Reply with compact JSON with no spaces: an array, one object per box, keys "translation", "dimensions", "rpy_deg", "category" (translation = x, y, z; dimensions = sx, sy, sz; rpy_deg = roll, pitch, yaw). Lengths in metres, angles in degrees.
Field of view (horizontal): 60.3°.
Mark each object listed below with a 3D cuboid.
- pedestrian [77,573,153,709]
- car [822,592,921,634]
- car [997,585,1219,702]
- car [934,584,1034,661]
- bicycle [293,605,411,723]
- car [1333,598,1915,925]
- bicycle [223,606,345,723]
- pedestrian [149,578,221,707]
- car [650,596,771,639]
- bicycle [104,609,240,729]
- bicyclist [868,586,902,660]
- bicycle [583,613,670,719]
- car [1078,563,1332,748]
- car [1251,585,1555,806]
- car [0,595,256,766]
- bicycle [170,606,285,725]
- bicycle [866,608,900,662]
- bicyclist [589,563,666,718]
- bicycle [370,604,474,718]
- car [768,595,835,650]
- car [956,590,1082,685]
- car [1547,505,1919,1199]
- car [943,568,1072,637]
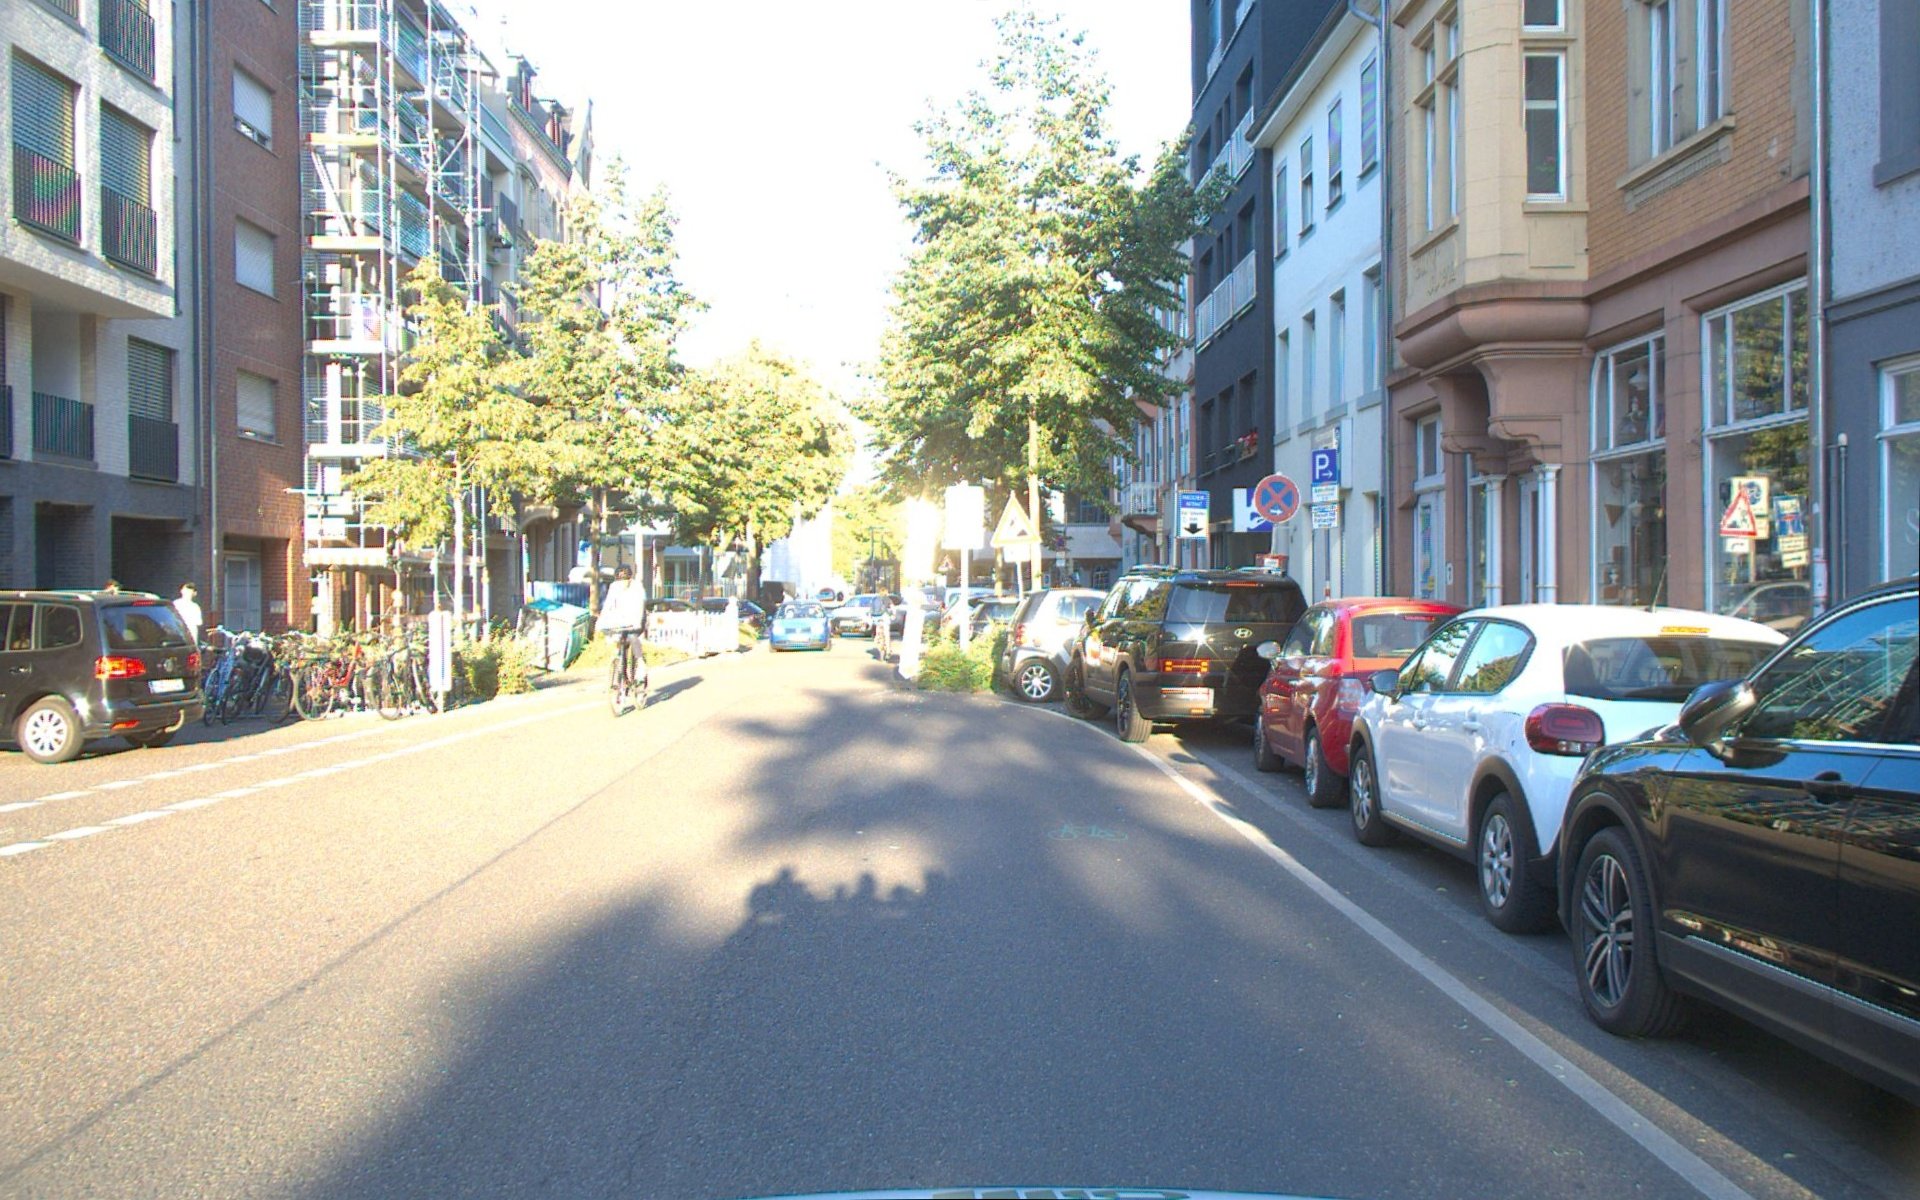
[{"translation":[-11.412,0.548,22.360],"dimensions":[0.703,1.798,0.693],"rpy_deg":[1,0,-9],"category":"pedestrian"},{"translation":[-3.281,0.492,62.404],"dimensions":[1.847,1.506,4.456],"rpy_deg":[1,0,25],"category":"car"},{"translation":[2.050,0.601,23.368],"dimensions":[2.911,1.563,1.432],"rpy_deg":[1,0,-5],"category":"car"},{"translation":[0.589,0.588,45.505],"dimensions":[2.221,1.796,4.505],"rpy_deg":[5,-1,-4],"category":"car"},{"translation":[-7.949,0.786,21.776],"dimensions":[0.876,1.420,3.159],"rpy_deg":[0,0,-9],"category":"bicycle"},{"translation":[3.314,0.707,9.076],"dimensions":[1.632,1.402,3.802],"rpy_deg":[1,0,-1],"category":"car"},{"translation":[-8.778,0.791,21.617],"dimensions":[0.766,1.397,3.135],"rpy_deg":[1,0,-9],"category":"bicycle"},{"translation":[-10.804,0.582,23.088],"dimensions":[0.703,1.771,0.737],"rpy_deg":[1,0,-9],"category":"pedestrian"},{"translation":[-8.891,0.618,59.197],"dimensions":[4.018,1.491,1.889],"rpy_deg":[1,0,0],"category":"car"},{"translation":[-10.108,0.831,21.357],"dimensions":[0.708,1.420,3.146],"rpy_deg":[1,0,-9],"category":"bicycle"},{"translation":[-1.804,0.543,39.471],"dimensions":[0.765,1.726,1.006],"rpy_deg":[-1,0,-4],"category":"bicyclist"},{"translation":[-4.127,0.788,20.589],"dimensions":[0.765,1.225,2.019],"rpy_deg":[-1,0,-3],"category":"bicycle"},{"translation":[2.476,0.530,17.794],"dimensions":[1.789,1.725,4.365],"rpy_deg":[1,0,-4],"category":"car"},{"translation":[3.359,0.666,13.103],"dimensions":[1.554,1.509,3.266],"rpy_deg":[1,0,1],"category":"car"},{"translation":[-9.972,0.766,17.260],"dimensions":[4.399,1.629,2.002],"rpy_deg":[1,0,8],"category":"car"},{"translation":[-9.454,0.798,21.481],"dimensions":[0.574,1.420,3.154],"rpy_deg":[1,0,-9],"category":"bicycle"},{"translation":[-1.848,0.822,39.579],"dimensions":[0.765,1.225,2.019],"rpy_deg":[-1,0,-3],"category":"bicycle"},{"translation":[-4.127,0.486,20.575],"dimensions":[0.765,1.861,1.006],"rpy_deg":[-1,0,-4],"category":"bicyclist"},{"translation":[-7.080,0.754,21.934],"dimensions":[0.829,1.374,3.180],"rpy_deg":[-1,0,-9],"category":"bicycle"},{"translation":[-4.538,0.607,47.424],"dimensions":[1.802,1.466,4.327],"rpy_deg":[-1,0,-5],"category":"car"},{"translation":[1.069,0.685,32.203],"dimensions":[1.954,1.697,4.505],"rpy_deg":[1,0,-4],"category":"car"},{"translation":[3.208,0.631,4.372],"dimensions":[1.775,1.697,4.205],"rpy_deg":[1,0,-1],"category":"car"},{"translation":[1.487,0.060,51.027],"dimensions":[3.903,2.049,2.001],"rpy_deg":[-1,0,3],"category":"car"}]
